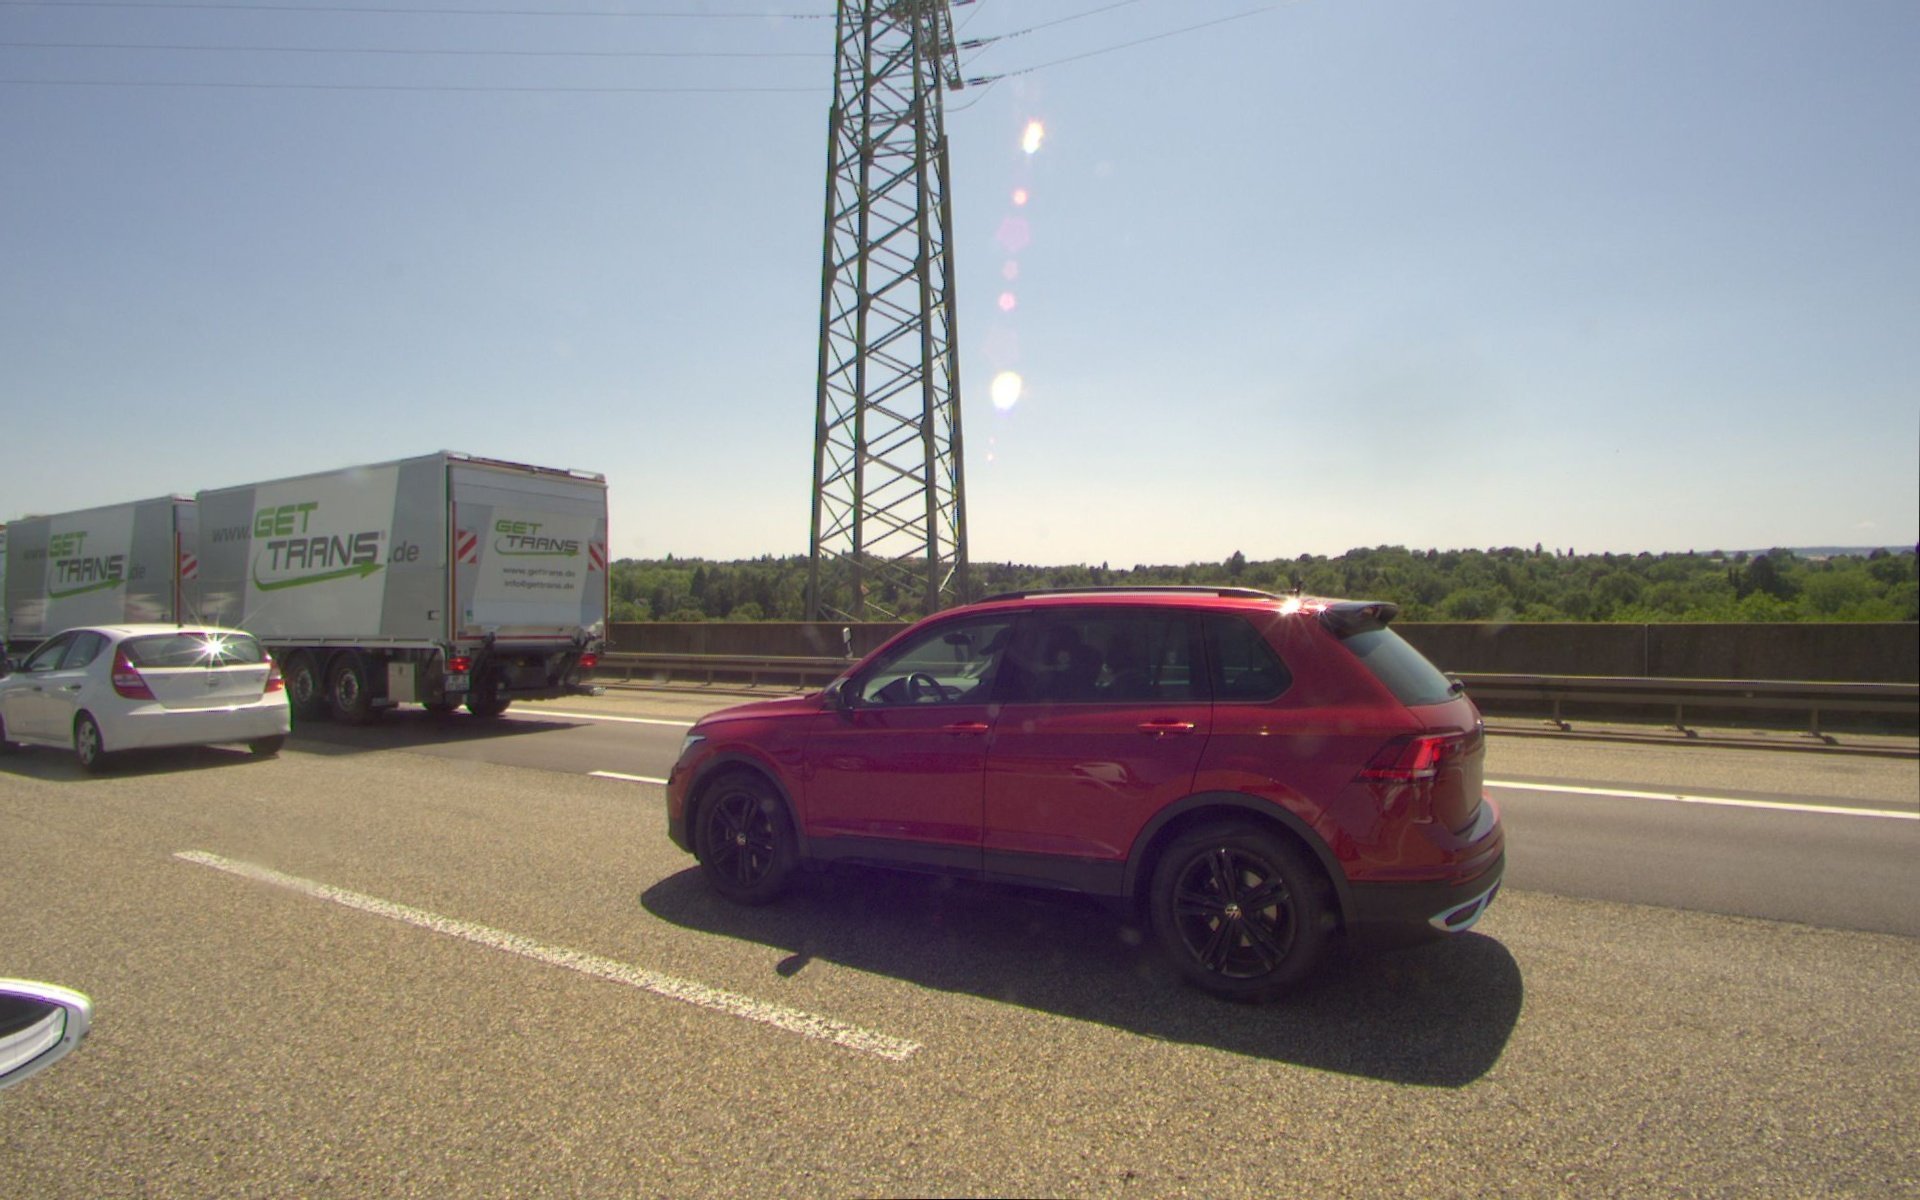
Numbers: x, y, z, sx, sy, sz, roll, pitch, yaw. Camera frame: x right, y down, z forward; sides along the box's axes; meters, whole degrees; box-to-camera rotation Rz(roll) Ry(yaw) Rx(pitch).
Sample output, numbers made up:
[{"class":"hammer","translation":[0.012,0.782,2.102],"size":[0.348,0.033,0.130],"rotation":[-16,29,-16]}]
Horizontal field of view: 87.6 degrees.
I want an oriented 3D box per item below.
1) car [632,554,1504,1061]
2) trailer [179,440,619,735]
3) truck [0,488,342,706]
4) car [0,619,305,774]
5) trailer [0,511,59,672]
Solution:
[{"class":"car","translation":[0.410,0.730,5.192],"size":[4.163,1.683,1.772],"rotation":[-1,-1,32]},{"class":"trailer","translation":[-9.183,-0.101,16.009],"size":[7.899,3.748,2.693],"rotation":[-1,0,32]},{"class":"truck","translation":[-17.148,0.026,20.976],"size":[10.851,3.695,2.652],"rotation":[-1,0,32]},{"class":"car","translation":[-9.516,0.960,11.485],"size":[4.232,1.474,1.785],"rotation":[-1,-1,32]},{"class":"trailer","translation":[-29.349,-0.151,28.768],"size":[8.883,4.293,2.860],"rotation":[-1,-2,32]}]
